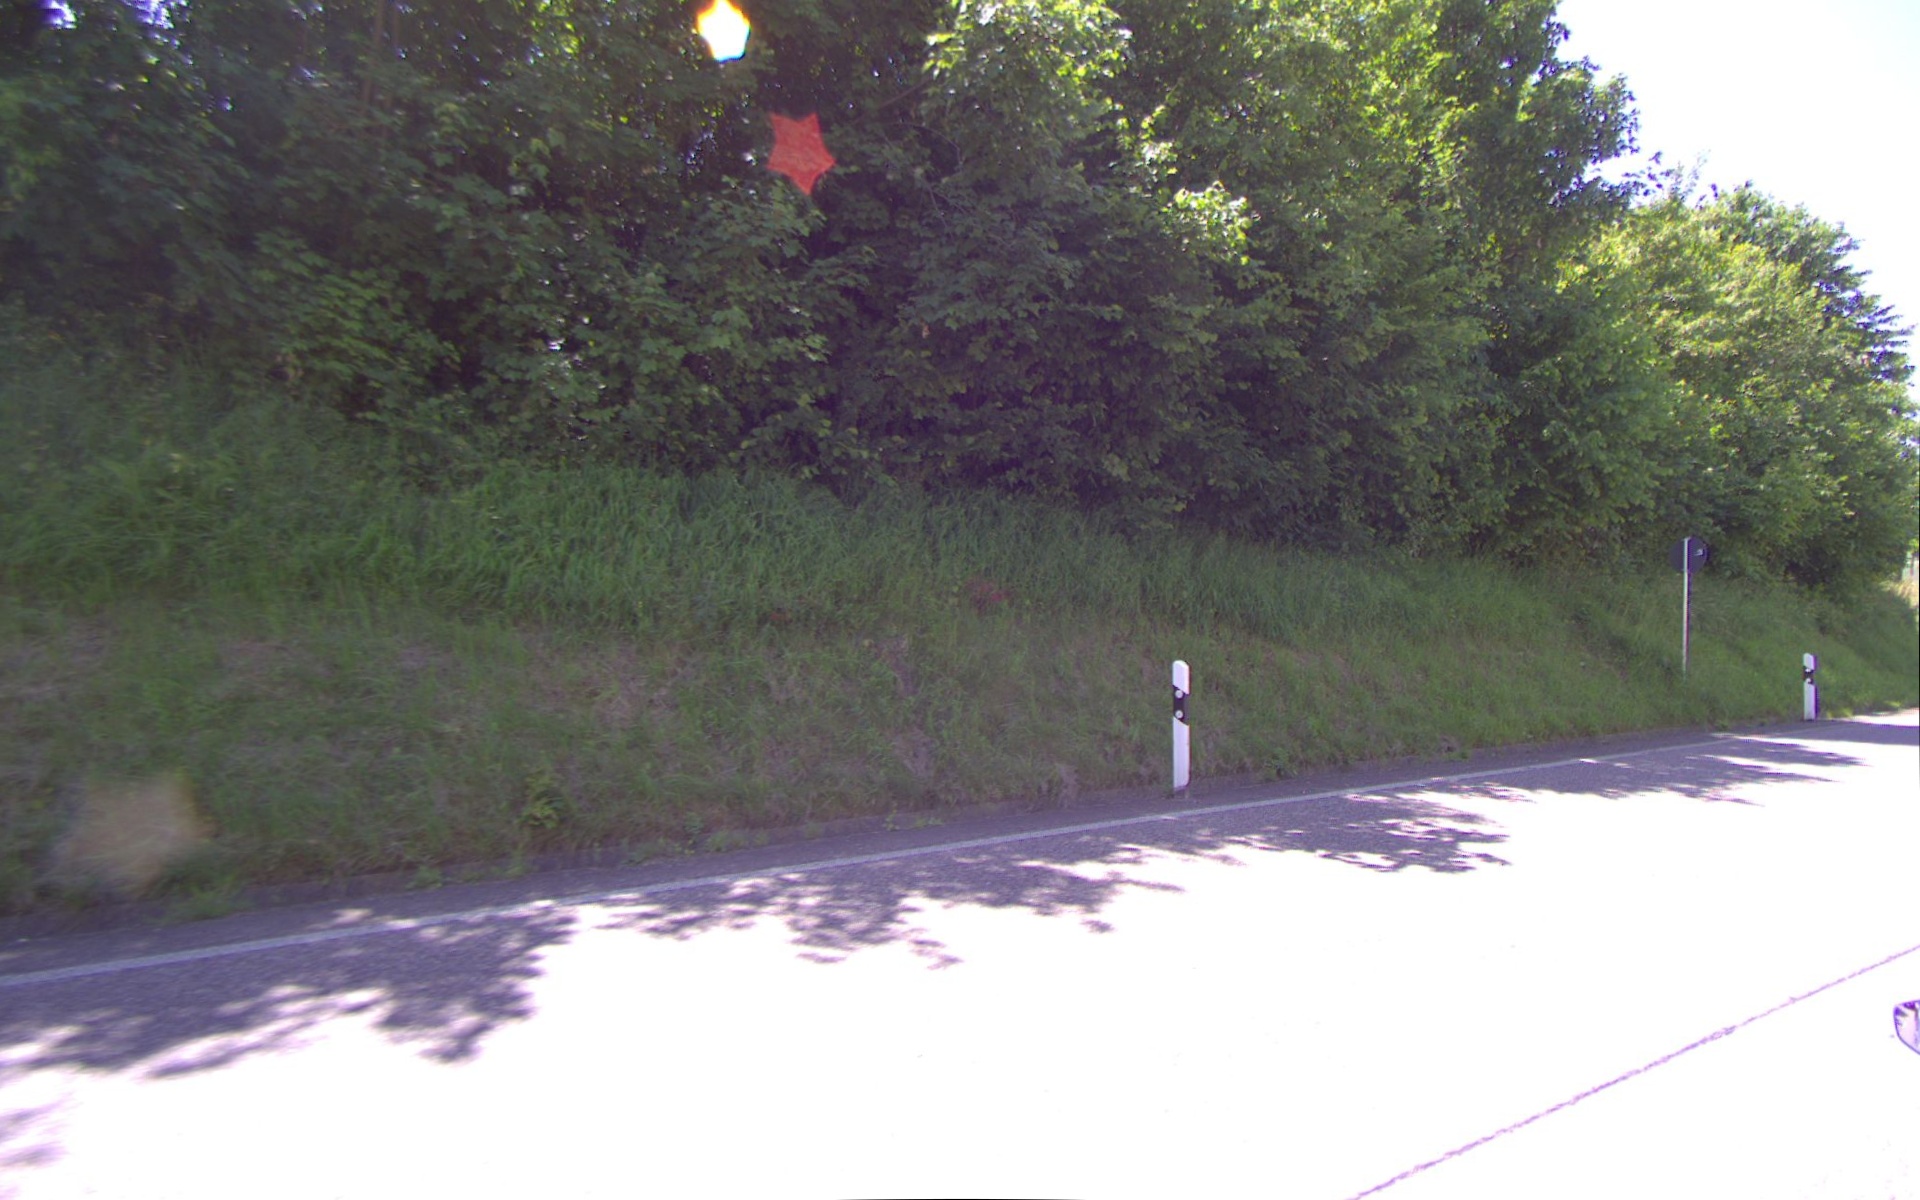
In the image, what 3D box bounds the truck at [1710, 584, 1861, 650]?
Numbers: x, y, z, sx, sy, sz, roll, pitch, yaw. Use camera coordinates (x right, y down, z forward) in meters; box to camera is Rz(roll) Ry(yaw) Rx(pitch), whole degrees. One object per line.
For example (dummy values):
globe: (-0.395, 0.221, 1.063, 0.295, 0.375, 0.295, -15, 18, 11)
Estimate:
truck: (61.666, 1.073, 75.586, 3.136, 4.367, 11.805, 4, 2, 10)
